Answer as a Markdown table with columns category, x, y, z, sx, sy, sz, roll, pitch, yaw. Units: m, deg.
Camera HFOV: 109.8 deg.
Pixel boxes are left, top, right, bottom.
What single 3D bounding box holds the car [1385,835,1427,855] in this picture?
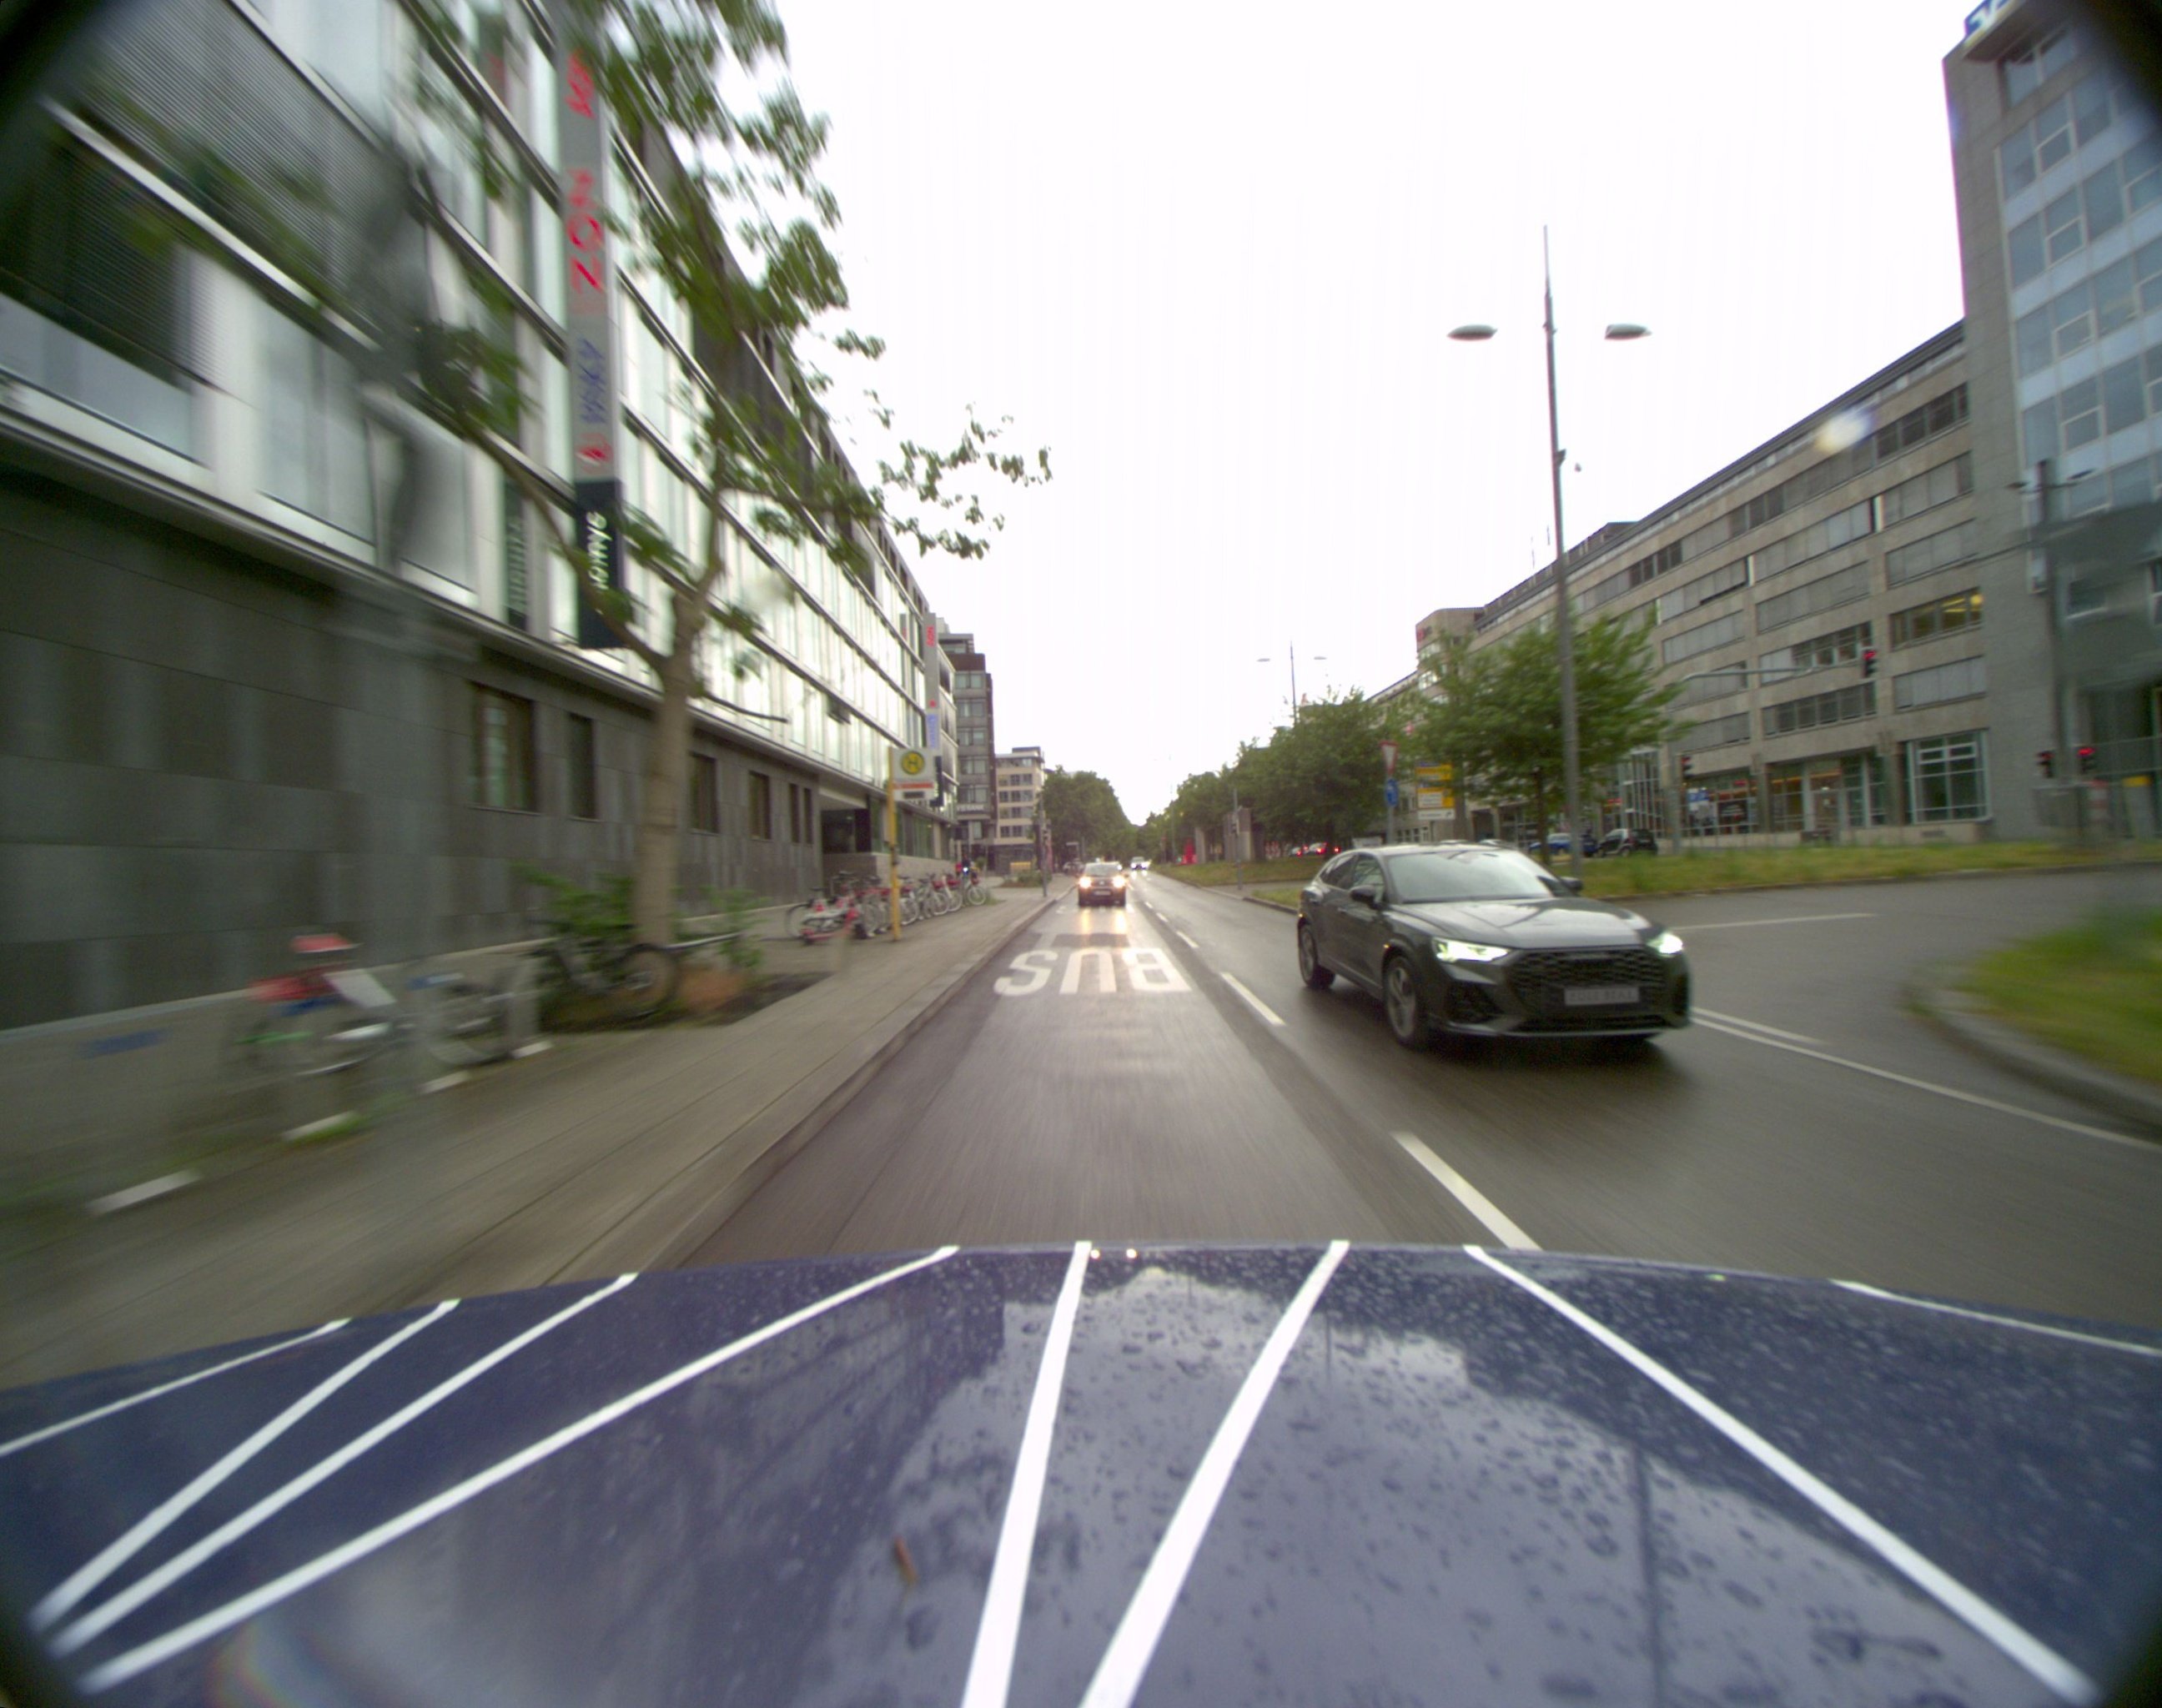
| category | x | y | z | sx | sy | sz | roll | pitch | yaw |
| --- | --- | --- | --- | --- | --- | --- | --- | --- | --- |
| car | 27.732 | -0.737 | 64.953 | 1.575 | 1.571 | 4.106 | -5 | 0 | -3 |

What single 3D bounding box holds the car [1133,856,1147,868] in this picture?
| category | x | y | z | sx | sy | sz | roll | pitch | yaw |
| --- | --- | --- | --- | --- | --- | --- | --- | --- | --- |
| car | 8.042 | 1.061 | 103.176 | 1.605 | 1.377 | 3.020 | -5 | 0 | 1 |

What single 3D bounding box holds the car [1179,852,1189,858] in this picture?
| category | x | y | z | sx | sy | sz | roll | pitch | yaw |
| --- | --- | --- | --- | --- | --- | --- | --- | --- | --- |
| car | 26.957 | 0.228 | 198.702 | 2.072 | 1.578 | 4.108 | -5 | 0 | 1 |

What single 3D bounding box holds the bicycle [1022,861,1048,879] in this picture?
| category | x | y | z | sx | sy | sz | roll | pitch | yaw |
| --- | --- | --- | --- | --- | --- | --- | --- | --- | --- |
| bicycle | -3.229 | 1.134 | 53.355 | 1.797 | 1.199 | 0.669 | -1 | 0 | -5 |

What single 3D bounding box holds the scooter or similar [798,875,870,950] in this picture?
| category | x | y | z | sx | sy | sz | roll | pitch | yaw |
| --- | --- | --- | --- | --- | --- | --- | --- | --- | --- |
| scooter or similar | -4.338 | 1.021 | 13.390 | 1.109 | 1.251 | 0.302 | -3 | 2 | -6 |

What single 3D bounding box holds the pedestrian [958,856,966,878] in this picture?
| category | x | y | z | sx | sy | sz | roll | pitch | yaw |
| --- | --- | --- | --- | --- | --- | --- | --- | --- | --- |
| pedestrian | -9.459 | 1.016 | 60.439 | 0.485 | 1.689 | 0.579 | -1 | 1 | -1 |

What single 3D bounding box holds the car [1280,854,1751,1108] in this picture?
| category | x | y | z | sx | sy | sz | roll | pitch | yaw |
| --- | --- | --- | --- | --- | --- | --- | --- | --- | --- |
| car | 3.297 | 0.806 | 6.951 | 1.865 | 1.509 | 4.345 | -3 | 0 | 2 |

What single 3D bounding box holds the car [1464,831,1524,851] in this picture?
| category | x | y | z | sx | sy | sz | roll | pitch | yaw |
| --- | --- | --- | --- | --- | --- | --- | --- | --- | --- |
| car | 27.925 | -0.873 | 51.493 | 1.575 | 1.116 | 4.106 | -5 | 0 | -3 |

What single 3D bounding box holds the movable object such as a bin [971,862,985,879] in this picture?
| category | x | y | z | sx | sy | sz | roll | pitch | yaw |
| --- | --- | --- | --- | --- | --- | --- | --- | --- | --- |
| movable object such as a bin | -8.023 | 1.255 | 59.178 | 0.804 | 1.258 | 1.788 | -1 | 0 | -1 |

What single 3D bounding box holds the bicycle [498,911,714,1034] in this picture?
| category | x | y | z | sx | sy | sz | roll | pitch | yaw |
| --- | --- | --- | --- | --- | --- | --- | --- | --- | --- |
| bicycle | -4.926 | 1.217 | 7.955 | 1.799 | 1.062 | 0.556 | -4 | 2 | -3 |

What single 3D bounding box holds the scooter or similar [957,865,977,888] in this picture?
| category | x | y | z | sx | sy | sz | roll | pitch | yaw |
| --- | --- | --- | --- | --- | --- | --- | --- | --- | --- |
| scooter or similar | -6.606 | 1.294 | 44.064 | 0.779 | 1.298 | 1.335 | -2 | 0 | 5 |

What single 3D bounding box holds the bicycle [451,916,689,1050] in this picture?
| category | x | y | z | sx | sy | sz | roll | pitch | yaw |
| --- | --- | --- | --- | --- | --- | --- | --- | --- | --- |
| bicycle | -4.893 | 1.220 | 7.359 | 1.799 | 1.062 | 0.556 | -4 | 2 | -3 |

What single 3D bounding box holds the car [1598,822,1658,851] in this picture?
| category | x | y | z | sx | sy | sz | roll | pitch | yaw |
| --- | --- | --- | --- | --- | --- | --- | --- | --- | --- |
| car | 28.762 | -0.894 | 40.034 | 1.243 | 1.377 | 2.627 | -5 | 0 | 1 |

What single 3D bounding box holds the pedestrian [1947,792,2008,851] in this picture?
| category | x | y | z | sx | sy | sz | roll | pitch | yaw |
| --- | --- | --- | --- | --- | --- | --- | --- | --- | --- |
| pedestrian | 29.132 | -1.044 | 24.700 | 0.959 | 1.870 | 0.931 | -2 | 1 | -12 |

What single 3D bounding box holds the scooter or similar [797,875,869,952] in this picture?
| category | x | y | z | sx | sy | sz | roll | pitch | yaw |
| --- | --- | --- | --- | --- | --- | --- | --- | --- | --- |
| scooter or similar | -4.247 | 1.011 | 13.026 | 1.063 | 1.251 | 0.302 | -3 | 2 | -6 |

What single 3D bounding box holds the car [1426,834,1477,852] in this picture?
| category | x | y | z | sx | sy | sz | roll | pitch | yaw |
| --- | --- | --- | --- | --- | --- | --- | --- | --- | --- |
| car | 27.785 | -0.814 | 57.122 | 1.575 | 1.116 | 4.106 | -5 | 0 | -3 |

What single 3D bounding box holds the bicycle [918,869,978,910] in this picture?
| category | x | y | z | sx | sy | sz | roll | pitch | yaw |
| --- | --- | --- | --- | --- | --- | --- | --- | --- | --- |
| bicycle | -4.080 | 1.099 | 23.463 | 1.735 | 1.176 | 0.689 | -2 | 0 | -5 |

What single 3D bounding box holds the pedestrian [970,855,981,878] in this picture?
| category | x | y | z | sx | sy | sz | roll | pitch | yaw |
| --- | --- | --- | --- | --- | --- | --- | --- | --- | --- |
| pedestrian | -8.390 | 0.975 | 60.441 | 0.723 | 1.820 | 0.747 | -1 | 1 | -1 |

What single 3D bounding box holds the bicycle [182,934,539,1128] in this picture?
| category | x | y | z | sx | sy | sz | roll | pitch | yaw |
| --- | --- | --- | --- | --- | --- | --- | --- | --- | --- |
| bicycle | -5.168 | 1.244 | 5.553 | 1.799 | 1.101 | 0.669 | -4 | 2 | -4 |

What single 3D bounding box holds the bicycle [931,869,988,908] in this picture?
| category | x | y | z | sx | sy | sz | roll | pitch | yaw |
| --- | --- | --- | --- | --- | --- | --- | --- | --- | --- |
| bicycle | -3.920 | 1.098 | 24.550 | 1.735 | 1.176 | 0.689 | -2 | 0 | -5 |

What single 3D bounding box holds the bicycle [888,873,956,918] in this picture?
| category | x | y | z | sx | sy | sz | roll | pitch | yaw |
| --- | --- | --- | --- | --- | --- | --- | --- | --- | --- |
| bicycle | -4.354 | 1.125 | 20.891 | 1.735 | 1.133 | 0.689 | -2 | 0 | -5 |

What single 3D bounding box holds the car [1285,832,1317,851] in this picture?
| category | x | y | z | sx | sy | sz | roll | pitch | yaw |
| --- | --- | --- | --- | --- | --- | --- | --- | --- | --- |
| car | 20.975 | -1.164 | 72.547 | 1.880 | 1.571 | 4.108 | -5 | 0 | 1 |

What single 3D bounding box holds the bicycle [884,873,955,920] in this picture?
| category | x | y | z | sx | sy | sz | roll | pitch | yaw |
| --- | --- | --- | --- | --- | --- | --- | --- | --- | --- |
| bicycle | -4.230 | 1.112 | 19.984 | 1.735 | 1.133 | 0.689 | -2 | 0 | -5 |

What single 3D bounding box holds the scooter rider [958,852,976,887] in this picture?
| category | x | y | z | sx | sy | sz | roll | pitch | yaw |
| --- | --- | --- | --- | --- | --- | --- | --- | --- | --- |
| scooter rider | -6.621 | 0.883 | 44.055 | 0.779 | 2.009 | 0.924 | -2 | 0 | 5 |

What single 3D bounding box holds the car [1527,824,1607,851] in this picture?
| category | x | y | z | sx | sy | sz | roll | pitch | yaw |
| --- | --- | --- | --- | --- | --- | --- | --- | --- | --- |
| car | 28.576 | -0.922 | 44.840 | 1.680 | 1.377 | 4.319 | -5 | 0 | -3 |

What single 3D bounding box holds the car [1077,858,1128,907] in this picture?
| category | x | y | z | sx | sy | sz | roll | pitch | yaw |
| --- | --- | --- | --- | --- | --- | --- | --- | --- | --- |
| car | 0.781 | 0.930 | 26.613 | 1.594 | 1.501 | 3.709 | -3 | 0 | 3 |

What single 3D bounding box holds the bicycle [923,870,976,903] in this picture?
| category | x | y | z | sx | sy | sz | roll | pitch | yaw |
| --- | --- | --- | --- | --- | --- | --- | --- | --- | --- |
| bicycle | -4.598 | 1.136 | 26.695 | 1.735 | 1.064 | 0.689 | -2 | 0 | -5 |

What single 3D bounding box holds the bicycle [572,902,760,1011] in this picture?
| category | x | y | z | sx | sy | sz | roll | pitch | yaw |
| --- | --- | --- | --- | --- | --- | --- | --- | --- | --- |
| bicycle | -4.830 | 1.180 | 8.929 | 1.799 | 1.062 | 0.556 | -4 | 2 | -3 |

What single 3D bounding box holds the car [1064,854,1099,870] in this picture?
| category | x | y | z | sx | sy | sz | roll | pitch | yaw |
| --- | --- | --- | --- | --- | --- | --- | --- | --- | --- |
| car | 0.086 | 1.083 | 100.838 | 4.202 | 1.801 | 2.003 | -4 | 0 | 36 |

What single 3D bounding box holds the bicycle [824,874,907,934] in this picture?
| category | x | y | z | sx | sy | sz | roll | pitch | yaw |
| --- | --- | --- | --- | --- | --- | --- | --- | --- | --- |
| bicycle | -4.564 | 1.051 | 16.180 | 1.539 | 1.134 | 0.689 | -3 | 2 | -5 |

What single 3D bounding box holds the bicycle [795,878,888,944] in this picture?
| category | x | y | z | sx | sy | sz | roll | pitch | yaw |
| --- | --- | --- | --- | --- | --- | --- | --- | --- | --- |
| bicycle | -4.564 | 1.083 | 14.556 | 1.539 | 1.134 | 0.662 | -3 | 2 | -5 |

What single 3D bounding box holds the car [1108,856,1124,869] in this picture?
| category | x | y | z | sx | sy | sz | roll | pitch | yaw |
| --- | --- | --- | --- | --- | --- | --- | --- | --- | --- |
| car | 4.753 | 1.169 | 103.899 | 2.072 | 1.578 | 4.108 | -5 | 0 | 1 |

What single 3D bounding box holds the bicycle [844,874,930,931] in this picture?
| category | x | y | z | sx | sy | sz | roll | pitch | yaw |
| --- | --- | --- | --- | --- | --- | --- | --- | --- | --- |
| bicycle | -4.300 | 1.068 | 16.929 | 1.711 | 1.134 | 0.689 | -3 | 2 | -5 |

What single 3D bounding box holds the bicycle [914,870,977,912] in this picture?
| category | x | y | z | sx | sy | sz | roll | pitch | yaw |
| --- | --- | --- | --- | --- | --- | --- | --- | --- | --- |
| bicycle | -4.021 | 1.097 | 22.629 | 1.735 | 1.176 | 0.689 | -2 | 0 | -5 |

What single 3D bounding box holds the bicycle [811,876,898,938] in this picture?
| category | x | y | z | sx | sy | sz | roll | pitch | yaw |
| --- | --- | --- | --- | --- | --- | --- | --- | --- | --- |
| bicycle | -4.572 | 1.066 | 15.436 | 1.539 | 1.134 | 0.689 | -3 | 2 | -5 |

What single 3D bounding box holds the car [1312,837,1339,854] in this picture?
| category | x | y | z | sx | sy | sz | roll | pitch | yaw |
| --- | --- | --- | --- | --- | --- | --- | --- | --- | --- |
| car | 21.102 | -0.722 | 65.620 | 1.411 | 1.377 | 2.627 | -5 | 0 | 1 |

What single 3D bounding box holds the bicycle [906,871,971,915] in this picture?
| category | x | y | z | sx | sy | sz | roll | pitch | yaw |
| --- | --- | --- | --- | --- | --- | --- | --- | --- | --- |
| bicycle | -4.050 | 1.098 | 21.721 | 1.735 | 1.176 | 0.689 | -2 | 0 | -5 |
